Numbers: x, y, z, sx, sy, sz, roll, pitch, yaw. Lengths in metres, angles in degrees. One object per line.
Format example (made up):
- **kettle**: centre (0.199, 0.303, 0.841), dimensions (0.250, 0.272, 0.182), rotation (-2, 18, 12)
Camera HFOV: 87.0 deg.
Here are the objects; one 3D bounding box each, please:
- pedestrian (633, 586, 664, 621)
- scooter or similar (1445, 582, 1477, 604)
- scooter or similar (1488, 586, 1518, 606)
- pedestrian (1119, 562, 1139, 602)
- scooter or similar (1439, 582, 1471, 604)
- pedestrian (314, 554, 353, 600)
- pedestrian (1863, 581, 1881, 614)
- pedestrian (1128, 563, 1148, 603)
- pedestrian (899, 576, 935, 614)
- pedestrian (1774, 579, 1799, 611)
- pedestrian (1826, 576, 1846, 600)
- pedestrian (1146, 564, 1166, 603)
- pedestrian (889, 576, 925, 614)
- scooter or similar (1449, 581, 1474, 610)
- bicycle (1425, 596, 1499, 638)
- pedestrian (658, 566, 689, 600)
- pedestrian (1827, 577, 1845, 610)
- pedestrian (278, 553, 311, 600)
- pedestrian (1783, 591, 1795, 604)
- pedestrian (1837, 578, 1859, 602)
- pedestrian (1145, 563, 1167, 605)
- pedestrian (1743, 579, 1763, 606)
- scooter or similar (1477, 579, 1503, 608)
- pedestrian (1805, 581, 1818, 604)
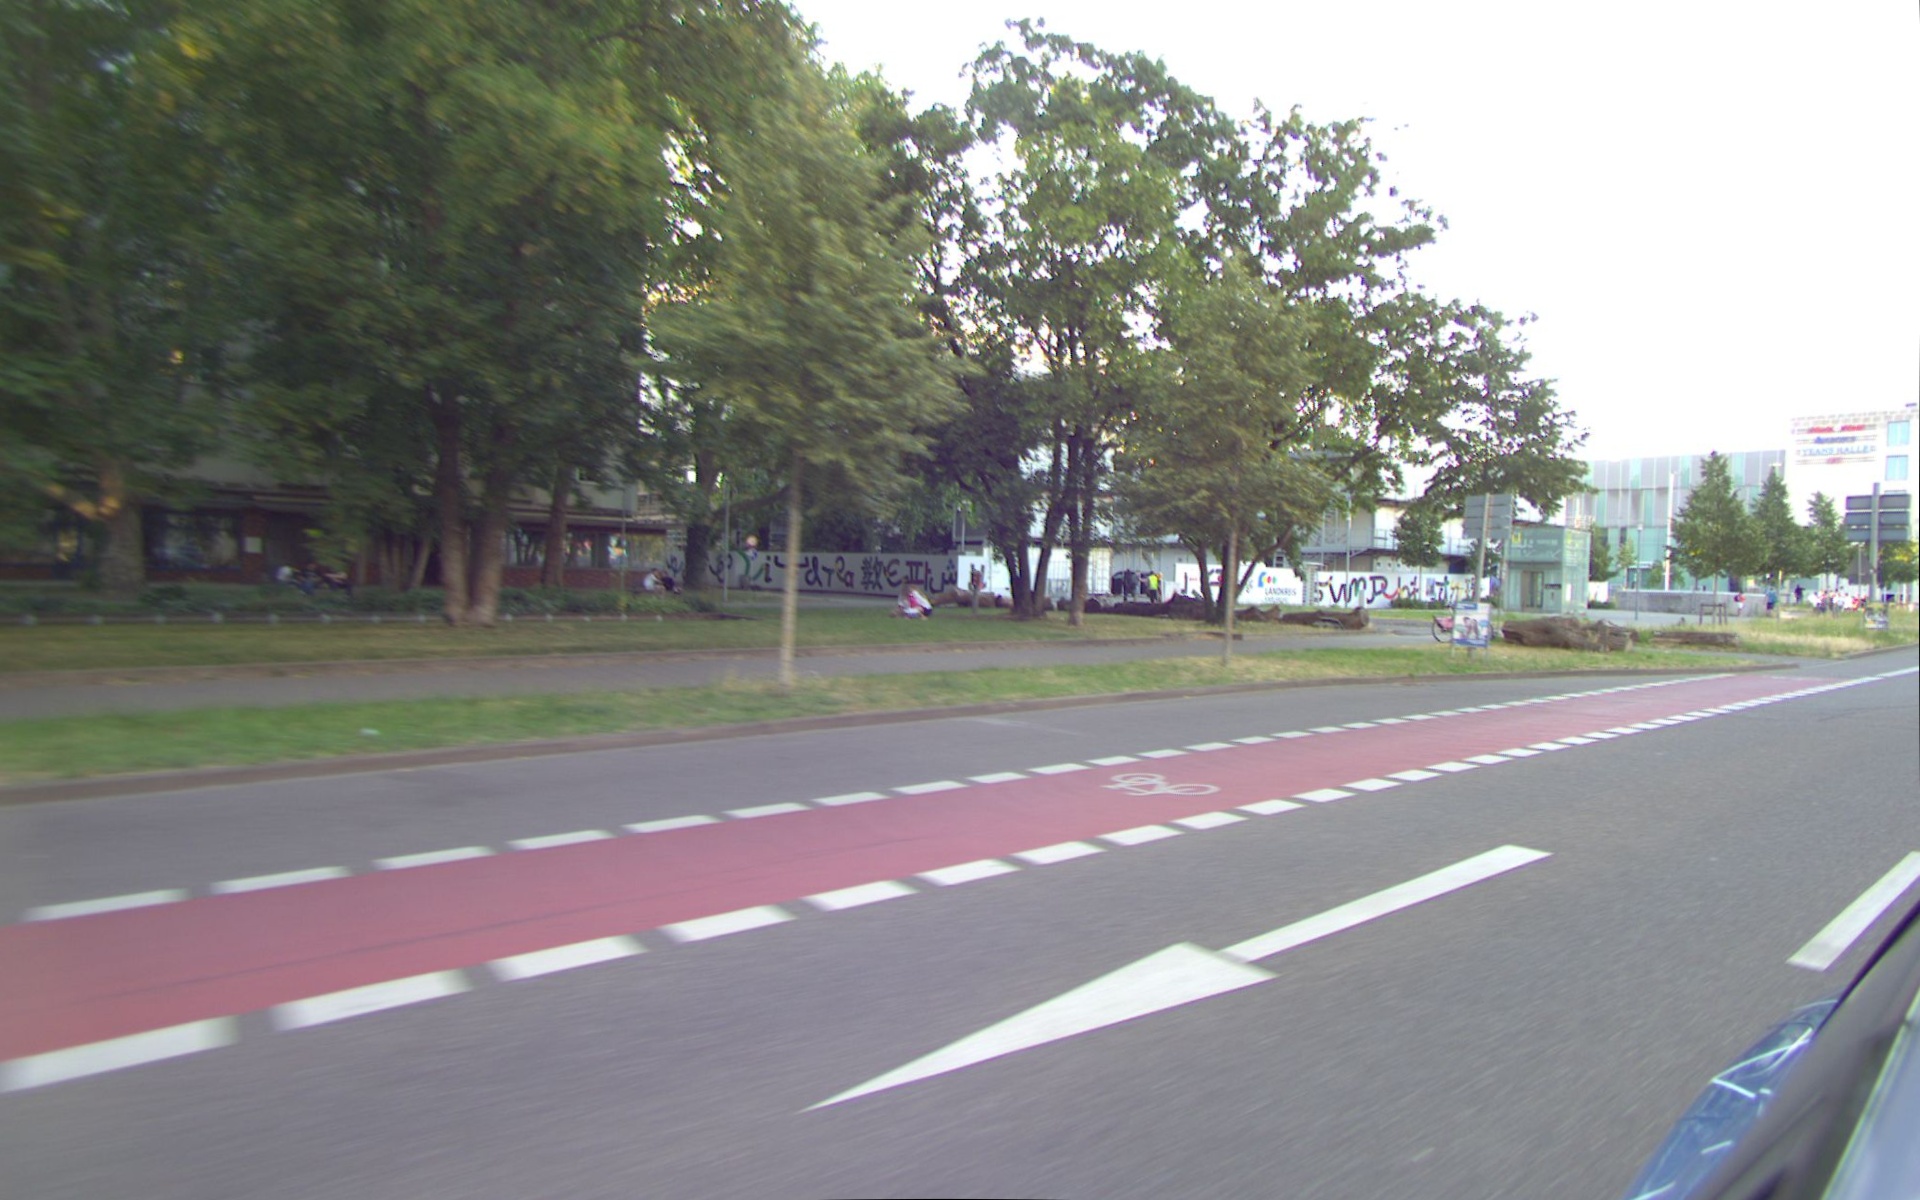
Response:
- **pedestrian**: centre (-10.862, 0.121, 35.333), dimensions (0.754, 1.178, 0.787), rotation (0, 2, -44)
- **scooter or similar**: centre (28.642, -0.428, 57.908), dimensions (0.466, 1.236, 1.572), rotation (0, 1, -40)
- **scooter or similar**: centre (33.903, -0.268, 63.207), dimensions (0.466, 1.235, 1.572), rotation (0, 2, -40)
- **pedestrian**: centre (8.221, -0.885, 49.134), dimensions (0.587, 1.924, 0.771), rotation (1, 1, -24)
- **scooter or similar**: centre (28.064, -0.410, 57.347), dimensions (0.466, 1.236, 1.572), rotation (0, 1, -40)
- **pedestrian**: centre (-18.043, -0.661, 29.136), dimensions (0.888, 1.276, 1.135), rotation (0, 2, -36)
- **pedestrian**: centre (54.117, -0.138, 60.055), dimensions (0.608, 1.957, 0.644), rotation (0, 2, -39)
- **pedestrian**: centre (8.464, -0.832, 48.127), dimensions (0.587, 1.879, 0.771), rotation (1, 1, -24)
- **pedestrian**: centre (-1.072, -0.132, 25.152), dimensions (0.675, 0.895, 0.618), rotation (2, 2, 27)
- **pedestrian**: centre (49.455, -0.317, 60.538), dimensions (1.026, 1.838, 0.817), rotation (2, 1, -33)
- **pedestrian**: centre (71.365, -0.952, 82.454), dimensions (0.882, 1.875, 0.723), rotation (4, 4, 18)
- **pedestrian**: centre (9.418, -0.794, 48.603), dimensions (0.587, 1.843, 0.771), rotation (1, 1, -24)
- **pedestrian**: centre (-1.293, -0.126, 24.602), dimensions (0.674, 0.895, 0.588), rotation (2, 2, 27)
- **scooter or similar**: centre (22.472, -0.207, 45.307), dimensions (0.473, 1.235, 1.549), rotation (6, 5, 44)
- **bicycle**: centre (13.047, 0.438, 26.309), dimensions (1.858, 1.017, 0.497), rotation (2, 4, -19)
- **pedestrian**: centre (-10.172, -0.612, 35.899), dimensions (0.754, 1.178, 0.787), rotation (0, 2, -44)
- **pedestrian**: centre (52.491, -0.379, 60.661), dimensions (0.608, 1.957, 0.644), rotation (0, 2, -36)
- **pedestrian**: centre (-18.828, -0.674, 28.625), dimensions (0.712, 1.276, 1.135), rotation (0, 2, -36)
- **pedestrian**: centre (67.835, -0.211, 82.807), dimensions (0.643, 0.975, 0.648), rotation (0, 2, -44)
- **pedestrian**: centre (71.751, -0.787, 81.780), dimensions (0.985, 1.875, 0.896), rotation (0, 5, -26)
- **pedestrian**: centre (9.086, -0.753, 46.929), dimensions (0.587, 1.943, 0.771), rotation (1, 1, -24)
- **pedestrian**: centre (45.889, -0.453, 58.577), dimensions (0.633, 1.509, 0.761), rotation (3, 0, -42)
- **scooter or similar**: centre (23.261, -0.282, 44.428), dimensions (1.373, 1.235, 0.425), rotation (0, 4, -38)
- **pedestrian**: centre (69.384, -0.602, 82.438), dimensions (0.575, 1.877, 0.605), rotation (1, 2, -34)
